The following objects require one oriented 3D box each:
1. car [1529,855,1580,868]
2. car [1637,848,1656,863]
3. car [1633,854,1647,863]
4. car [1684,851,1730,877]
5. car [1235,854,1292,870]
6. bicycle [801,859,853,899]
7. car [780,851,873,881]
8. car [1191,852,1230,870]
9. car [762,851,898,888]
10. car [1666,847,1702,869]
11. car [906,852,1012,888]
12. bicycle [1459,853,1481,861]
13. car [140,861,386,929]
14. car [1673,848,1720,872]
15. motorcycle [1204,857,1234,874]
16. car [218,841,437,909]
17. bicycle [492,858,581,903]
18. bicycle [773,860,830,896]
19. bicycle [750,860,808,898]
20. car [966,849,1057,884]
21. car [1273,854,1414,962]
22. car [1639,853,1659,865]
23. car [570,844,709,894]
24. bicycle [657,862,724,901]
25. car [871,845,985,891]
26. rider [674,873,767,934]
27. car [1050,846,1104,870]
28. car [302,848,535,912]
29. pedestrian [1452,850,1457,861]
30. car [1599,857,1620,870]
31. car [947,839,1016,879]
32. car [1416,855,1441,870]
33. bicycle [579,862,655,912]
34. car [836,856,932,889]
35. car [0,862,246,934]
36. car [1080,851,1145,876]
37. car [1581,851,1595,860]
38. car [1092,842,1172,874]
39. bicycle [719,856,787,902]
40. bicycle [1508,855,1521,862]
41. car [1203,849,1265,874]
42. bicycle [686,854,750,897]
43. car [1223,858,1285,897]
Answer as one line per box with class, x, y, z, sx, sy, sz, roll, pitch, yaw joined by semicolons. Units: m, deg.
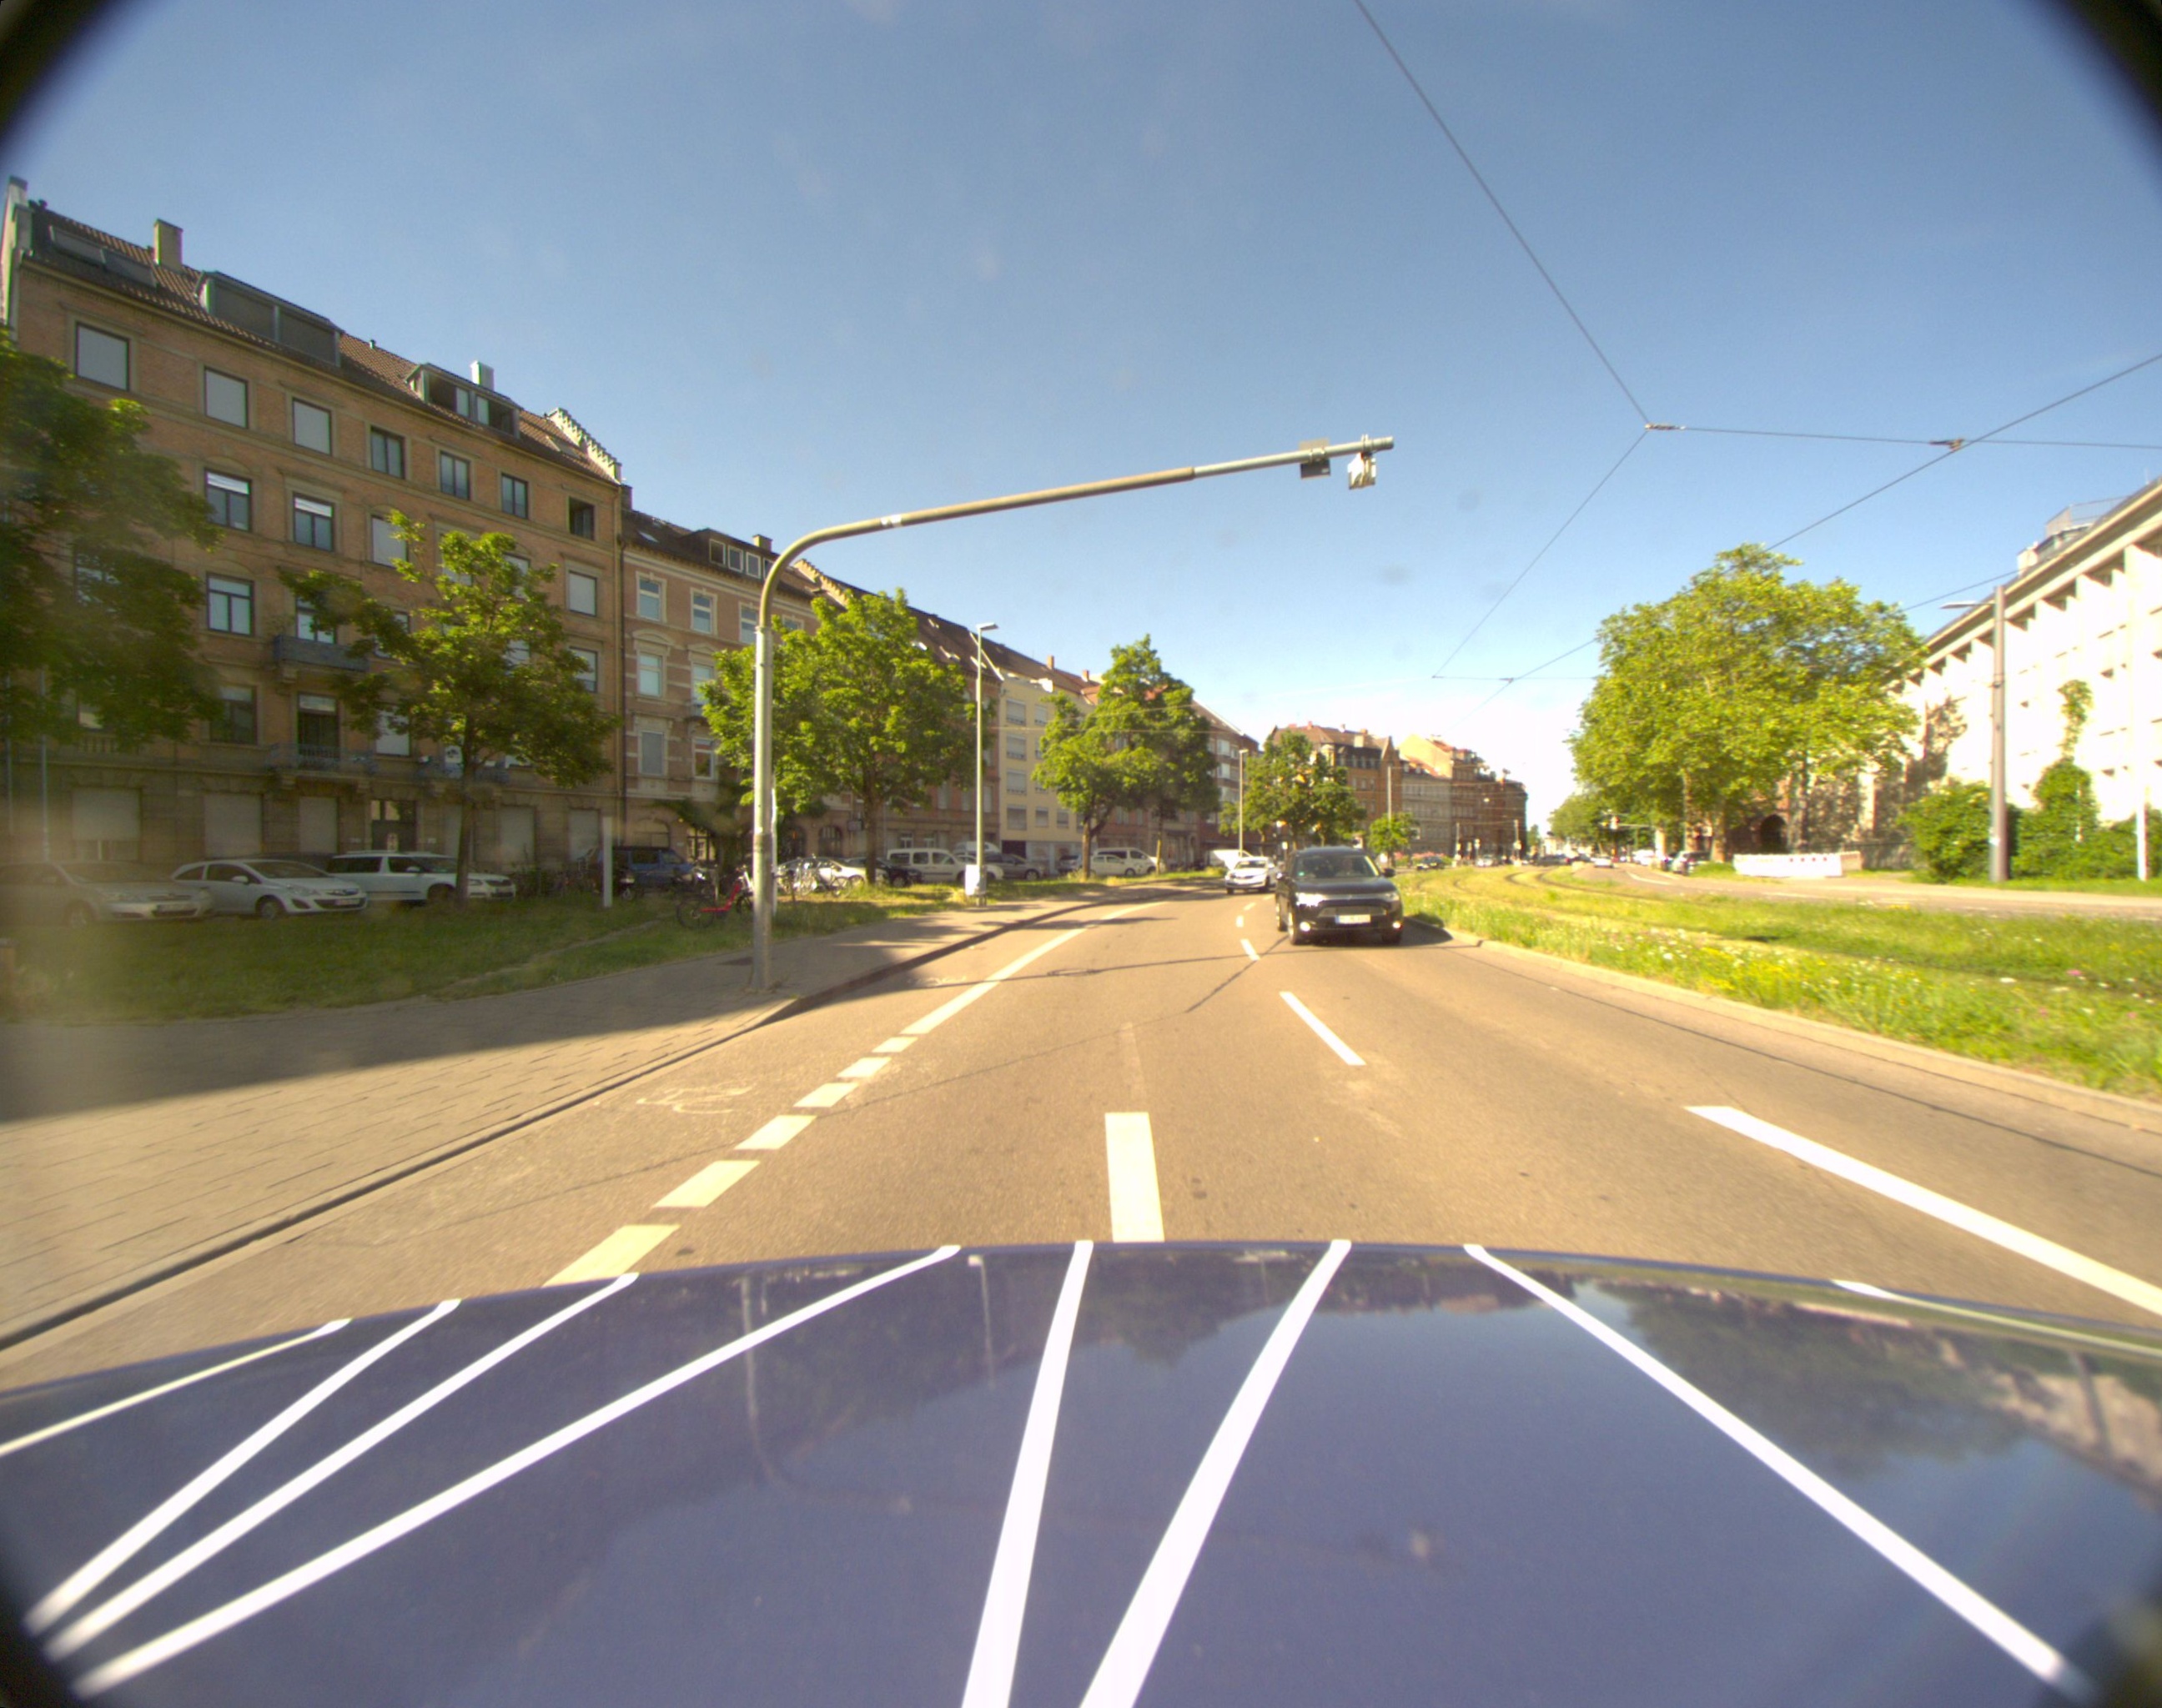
car;57.372;0.871;92.066;1.839;1.444;4.949;0;0;-30
car;82.746;0.190;111.188;1.917;2.084;4.602;-1;0;33
car;94.423;0.790;128.446;1.791;1.542;4.316;-1;0;35
car;37.615;0.549;45.711;1.830;1.483;4.190;-1;0;35
car;17.252;0.772;71.901;4.876;1.426;2.021;1;0;2
bicycle;-8.338;0.803;25.019;1.598;1.282;0.769;1;0;-16
car;-13.638;0.632;40.974;1.994;1.520;4.522;1;0;31
car;13.581;0.701;79.640;1.996;1.465;4.498;-8;-3;37
car;-9.961;0.612;30.421;4.748;1.372;2.046;-1;0;1
car;48.112;0.302;60.707;1.831;1.629;4.404;-1;0;33
car;-6.092;0.783;38.291;4.874;1.638;2.101;1;1;5
bicycle;65.100;0.509;126.991;1.965;1.407;6.842;-1;0;39
car;-18.590;0.906;17.379;3.840;1.433;1.760;-1;0;3
car;41.556;0.392;51.387;1.830;1.578;4.404;0;0;31
motorcycle;11.470;0.949;63.157;2.263;1.412;0.854;1;0;-15
car;-24.195;0.633;24.590;1.994;1.966;4.734;1;0;35
bicycle;-16.845;0.806;23.539;2.099;1.357;0.787;-1;0;-6
bicycle;-9.712;0.814;26.405;1.945;1.174;0.902;1;1;34
bicycle;-10.179;0.827;25.604;1.958;1.185;0.843;1;1;34
car;-3.694;0.659;40.816;4.507;1.718;2.000;1;1;5
car;4.683;0.862;14.188;1.839;1.672;4.647;-2;0;11
car;76.949;0.702;103.019;1.775;1.564;3.685;0;-1;31
car;-18.817;0.611;32.619;1.994;1.966;4.734;1;0;35
bicycle;-12.327;0.855;23.977;2.163;1.151;0.824;-1;0;31
car;-7.077;0.622;35.534;4.876;2.001;2.100;1;1;1
rider;-7.546;1.014;15.937;1.679;1.169;0.502;-1;0;-38
car;-0.262;0.296;60.259;1.994;1.789;4.636;1;0;34
car;-17.087;0.660;19.748;4.466;1.556;1.938;-1;0;3
pedestrian;64.015;0.267;130.260;0.819;1.851;0.705;0;0;25
car;59.127;1.019;84.957;1.830;1.444;4.179;1;0;36
car;-6.670;0.318;51.227;1.994;2.570;4.523;1;0;36
car;34.070;0.832;74.404;1.886;1.419;4.385;-1;0;29
bicycle;-13.387;0.938;21.907;2.095;1.390;0.788;-1;0;24
car;-8.501;0.791;33.022;3.611;1.372;1.926;-1;0;1
car;-19.620;0.840;15.218;4.051;1.329;1.840;-1;0;6
car;1.966;0.597;48.232;4.027;1.470;1.813;1;1;1
car;112.048;0.268;167.981;2.061;1.880;4.527;2;1;39
car;3.436;0.228;50.951;5.181;2.001;2.101;1;1;5
bicycle;-10.040;0.740;23.242;2.094;1.357;0.789;-1;0;29
bicycle;79.023;0.830;138.528;0.846;1.130;1.915;-1;1;-40
car;13.210;0.627;65.776;4.877;2.063;2.020;1;0;0
bicycle;-11.867;0.706;24.832;2.094;1.357;0.789;-1;0;29
car;8.036;1.017;35.045;1.798;1.626;4.402;-1;0;26
